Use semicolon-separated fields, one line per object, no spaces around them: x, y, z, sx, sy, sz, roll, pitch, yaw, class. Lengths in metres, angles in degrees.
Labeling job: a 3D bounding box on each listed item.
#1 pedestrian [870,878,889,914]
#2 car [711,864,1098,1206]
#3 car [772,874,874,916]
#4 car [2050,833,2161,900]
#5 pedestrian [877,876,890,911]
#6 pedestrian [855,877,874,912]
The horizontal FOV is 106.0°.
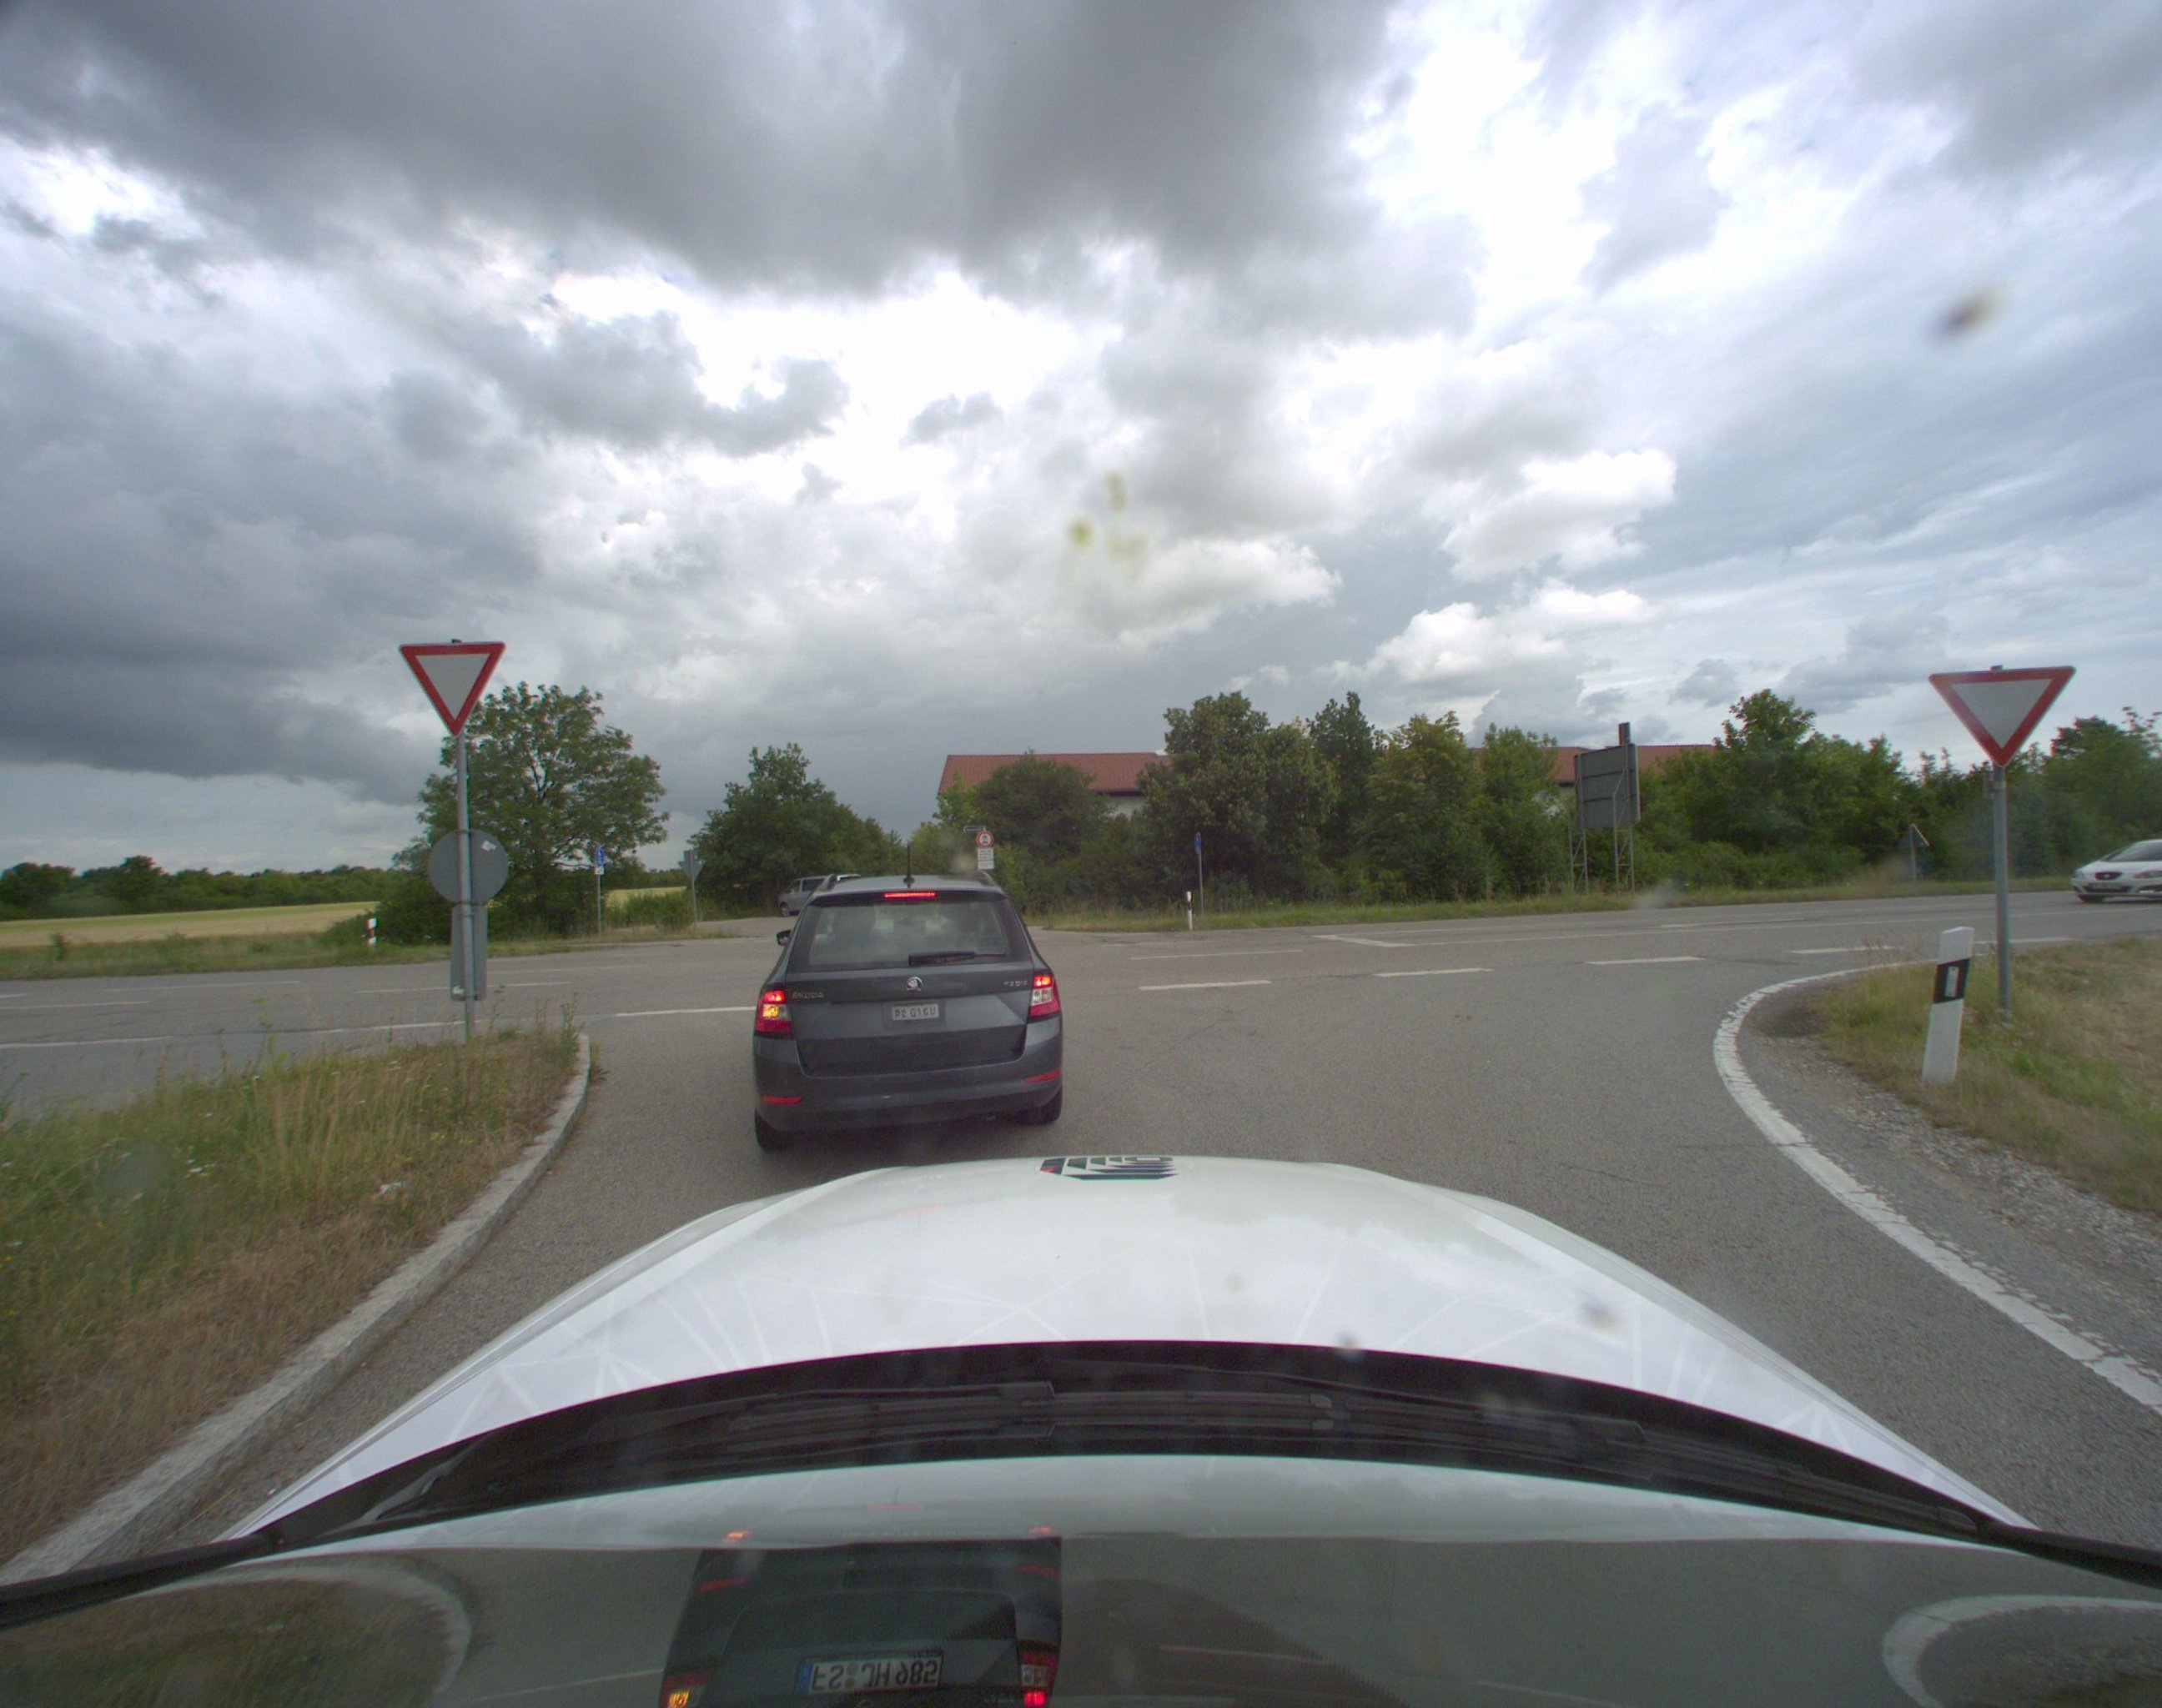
-10.038;2.080;40.511;0.722;1.723;0.791;-2;-1;-3;pedestrian
-1.225;0.825;5.738;1.715;1.447;4.098;-1;-1;-13;car
-13.007;2.065;40.941;5.034;1.886;2.126;-3;-1;34;car
25.010;0.211;18.521;4.297;1.408;1.814;-3;-2;-9;car
-10.246;2.025;42.180;0.489;1.746;0.642;-2;-1;-3;pedestrian
-10.927;2.037;41.203;0.698;1.723;0.733;-2;-1;0;pedestrian
